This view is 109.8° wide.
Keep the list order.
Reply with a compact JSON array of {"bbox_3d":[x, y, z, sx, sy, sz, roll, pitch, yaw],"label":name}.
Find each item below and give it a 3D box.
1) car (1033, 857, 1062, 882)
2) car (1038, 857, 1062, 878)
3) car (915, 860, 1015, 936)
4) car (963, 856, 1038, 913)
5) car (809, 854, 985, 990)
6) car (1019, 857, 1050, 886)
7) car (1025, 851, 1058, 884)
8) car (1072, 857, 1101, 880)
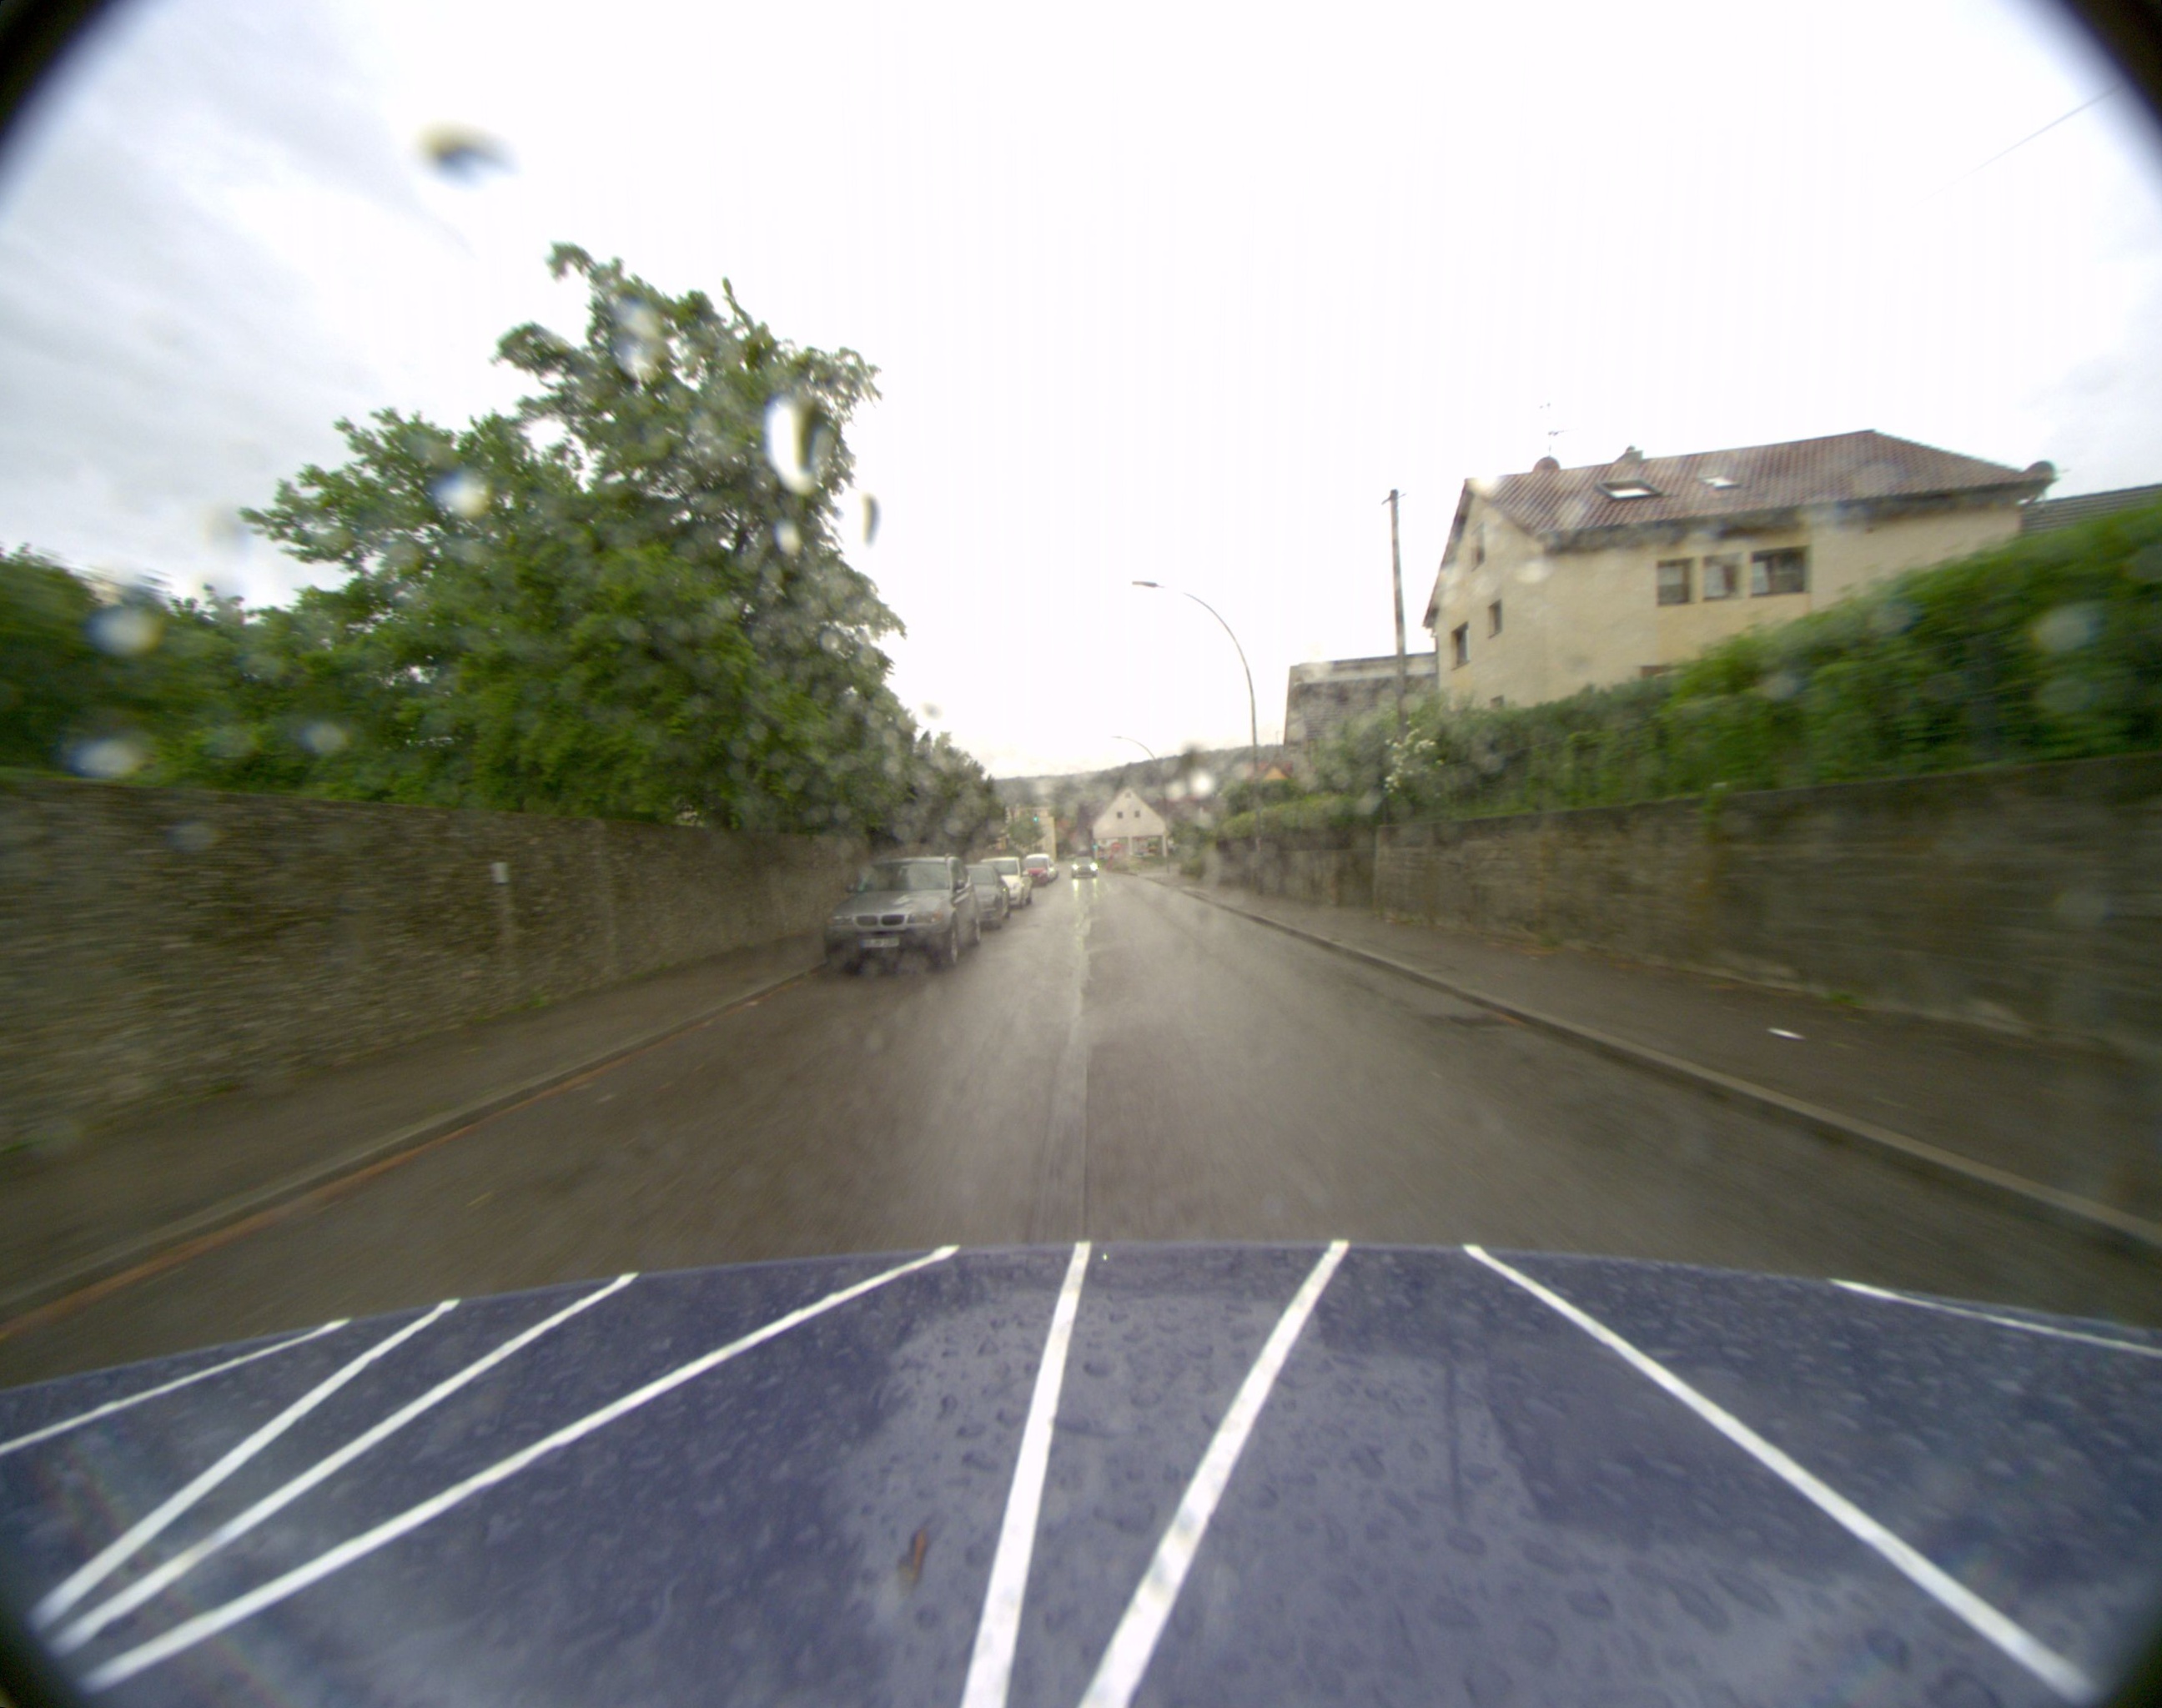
[{"bbox_3d":[-2.260,1.054,52.408,1.650,1.454,3.999,-3,1,1],"label":"car"},{"bbox_3d":[-2.327,0.992,57.830,1.616,1.472,4.037,-3,0,-1],"label":"car"},{"bbox_3d":[-2.679,0.955,18.533,1.769,1.439,4.695,-3,1,-1],"label":"car"},{"bbox_3d":[-2.509,0.909,24.569,1.819,1.564,3.880,-2,1,2],"label":"car"},{"bbox_3d":[-2.696,0.889,12.221,1.746,1.658,4.496,-3,1,-1],"label":"car"},{"bbox_3d":[-2.513,0.927,41.738,1.588,1.446,3.663,-1,0,-2],"label":"car"},{"bbox_3d":[-2.384,0.772,46.583,1.641,1.731,4.135,-3,1,1],"label":"car"},{"bbox_3d":[0.394,1.055,56.839,1.999,1.521,3.999,-3,1,-1],"label":"car"}]
